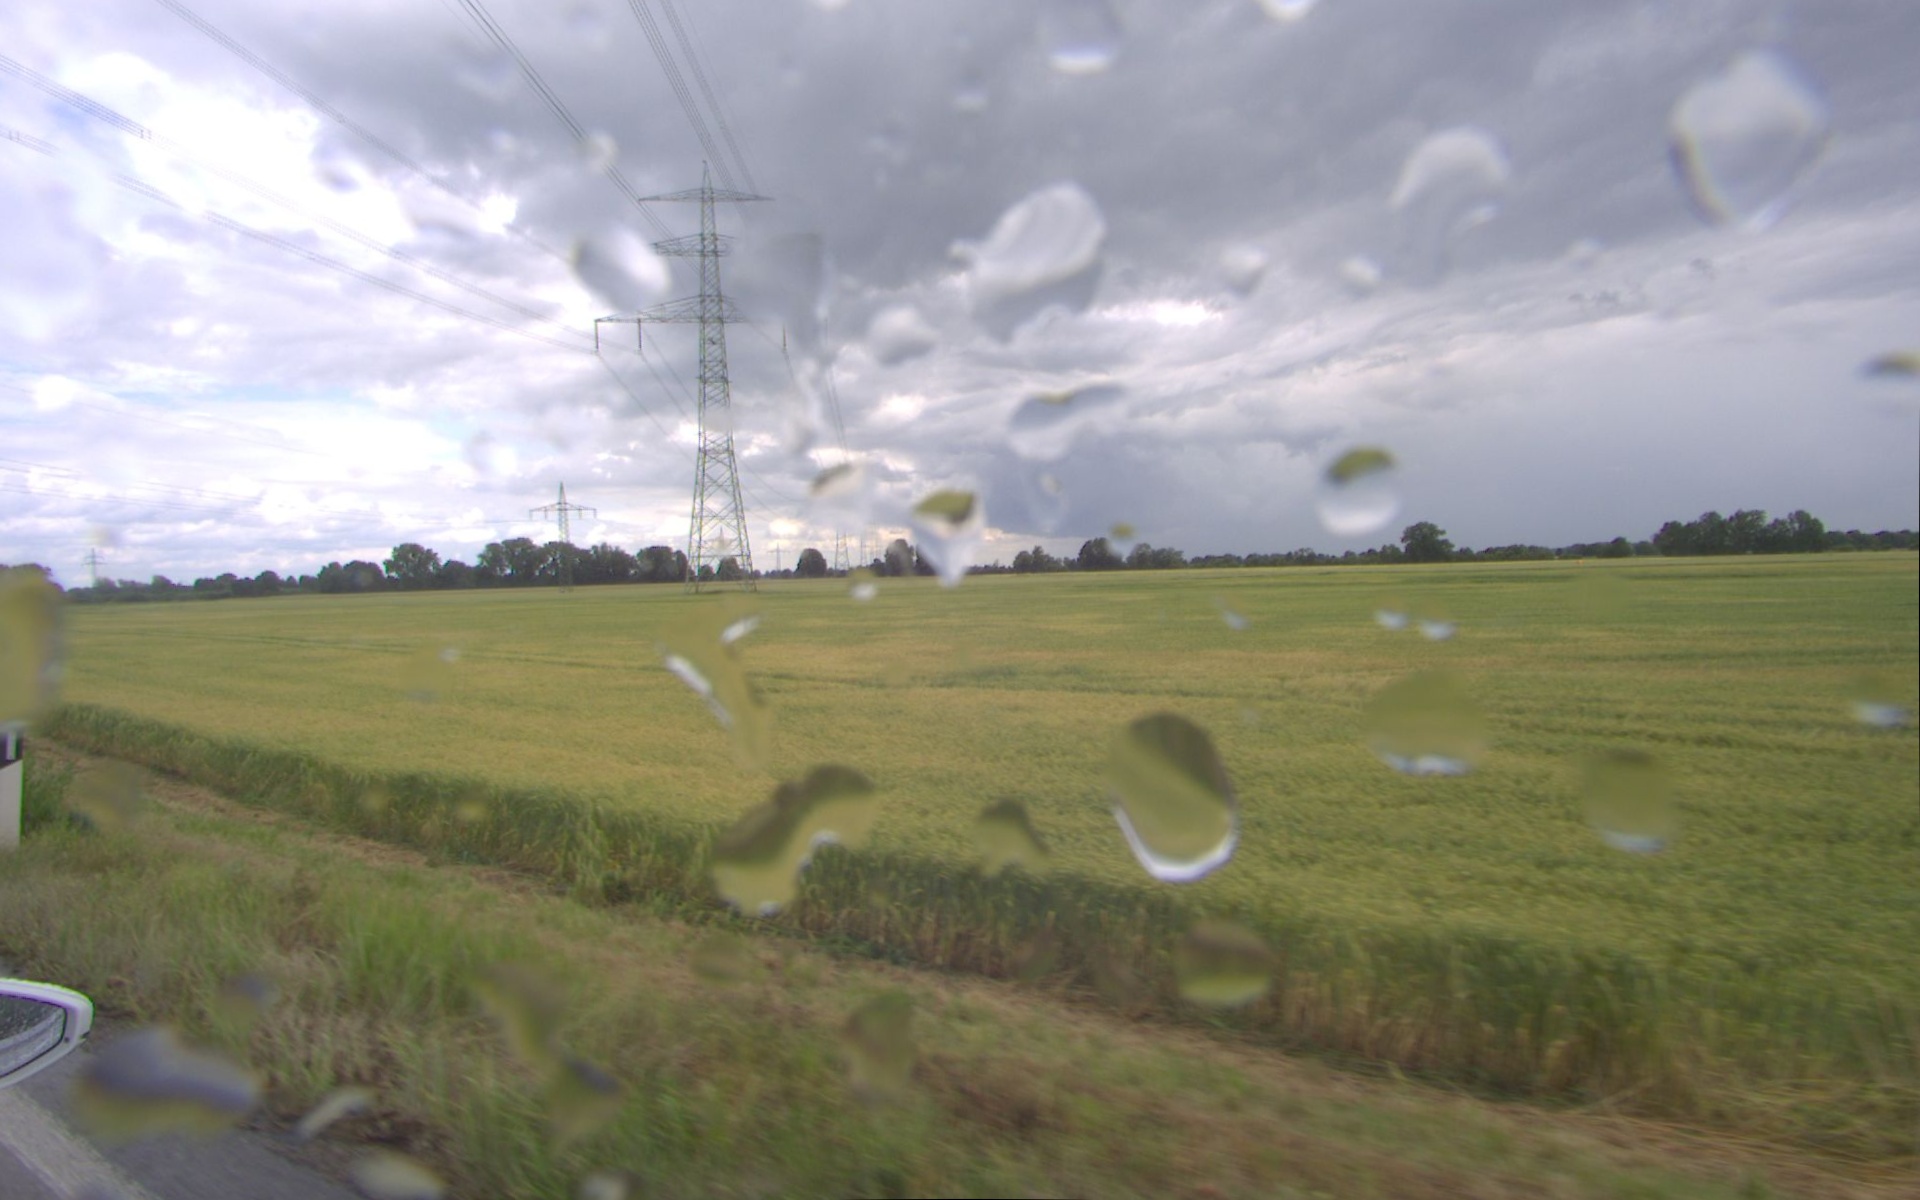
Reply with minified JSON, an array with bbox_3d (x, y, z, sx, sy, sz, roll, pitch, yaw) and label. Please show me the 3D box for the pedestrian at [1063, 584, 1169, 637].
[{"bbox_3d":[6.505,0.469,41.710,3.936,2.039,1.994,-2,-2,26],"label":"pedestrian"}]
